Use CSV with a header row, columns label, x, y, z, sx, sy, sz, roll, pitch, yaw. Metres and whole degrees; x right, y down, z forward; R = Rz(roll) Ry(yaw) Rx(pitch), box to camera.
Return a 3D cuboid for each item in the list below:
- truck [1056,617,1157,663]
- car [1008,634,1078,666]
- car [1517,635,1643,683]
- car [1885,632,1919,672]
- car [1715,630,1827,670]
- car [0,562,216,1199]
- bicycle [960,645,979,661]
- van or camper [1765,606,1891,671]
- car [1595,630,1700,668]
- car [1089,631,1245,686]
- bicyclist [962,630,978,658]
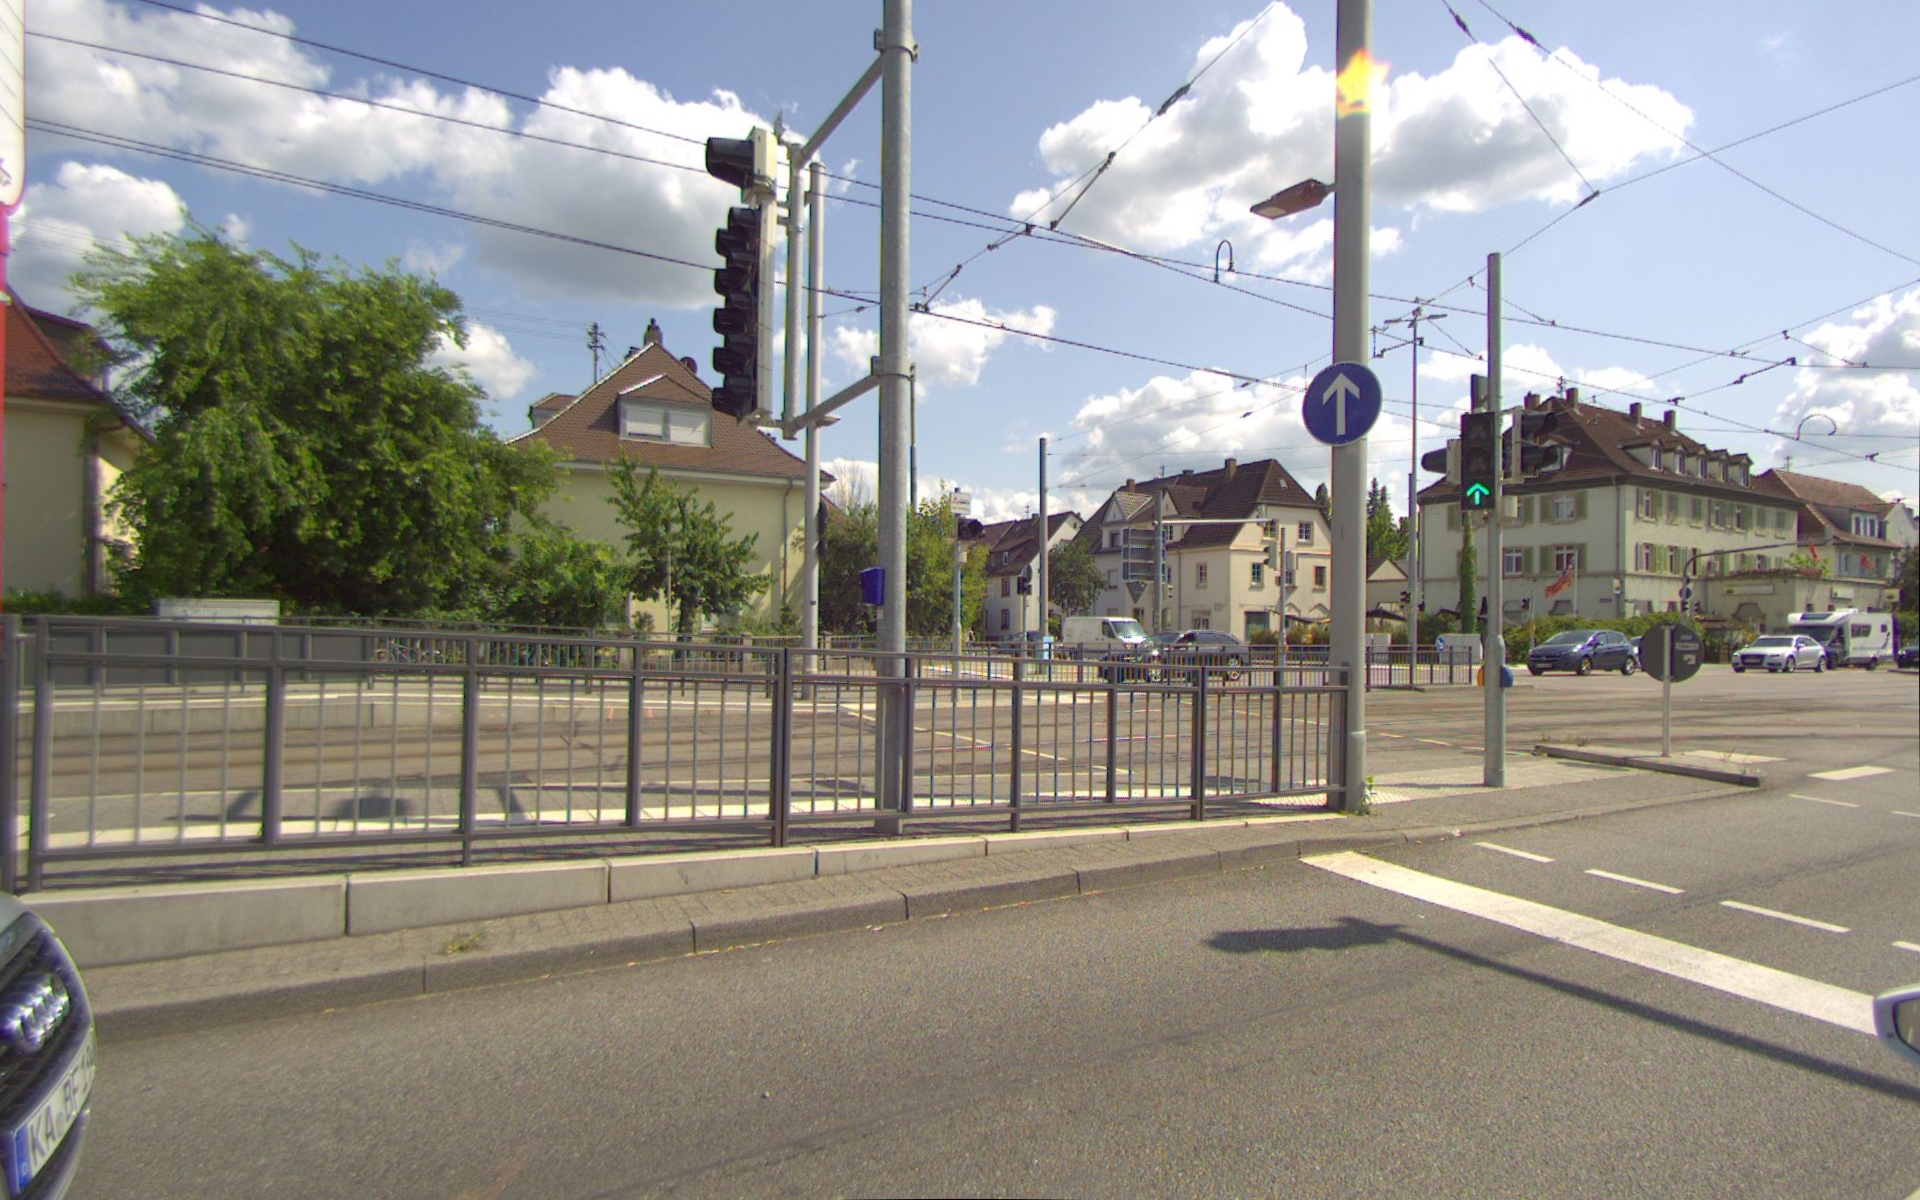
label,x,y,z,sx,sy,sz,roll,pitch,yaw
truck,7.140,1.945,49.834,1.668,1.947,6.161,2,0,-27
car,4.573,2.765,56.165,1.975,1.573,4.148,3,-1,-27
car,19.853,1.887,32.111,4.129,1.369,1.676,2,0,-30
car,44.327,2.351,45.552,4.817,1.799,1.986,1,-3,-28
car,31.014,1.913,38.415,4.129,1.369,1.984,2,0,-30
car,-3.655,0.657,0.829,4.665,1.491,1.786,1,1,-30
bicycle,0.522,2.976,56.584,0.595,0.846,1.074,2,0,-28
van or camper,42.109,1.849,48.673,7.663,2.968,2.313,2,-1,-30
car,27.749,1.982,40.529,4.291,1.369,1.677,2,0,-28
car,5.804,1.619,28.005,4.297,1.369,1.675,2,0,-32
bicyclist,0.549,2.454,56.584,0.595,1.529,0.641,2,0,-28
